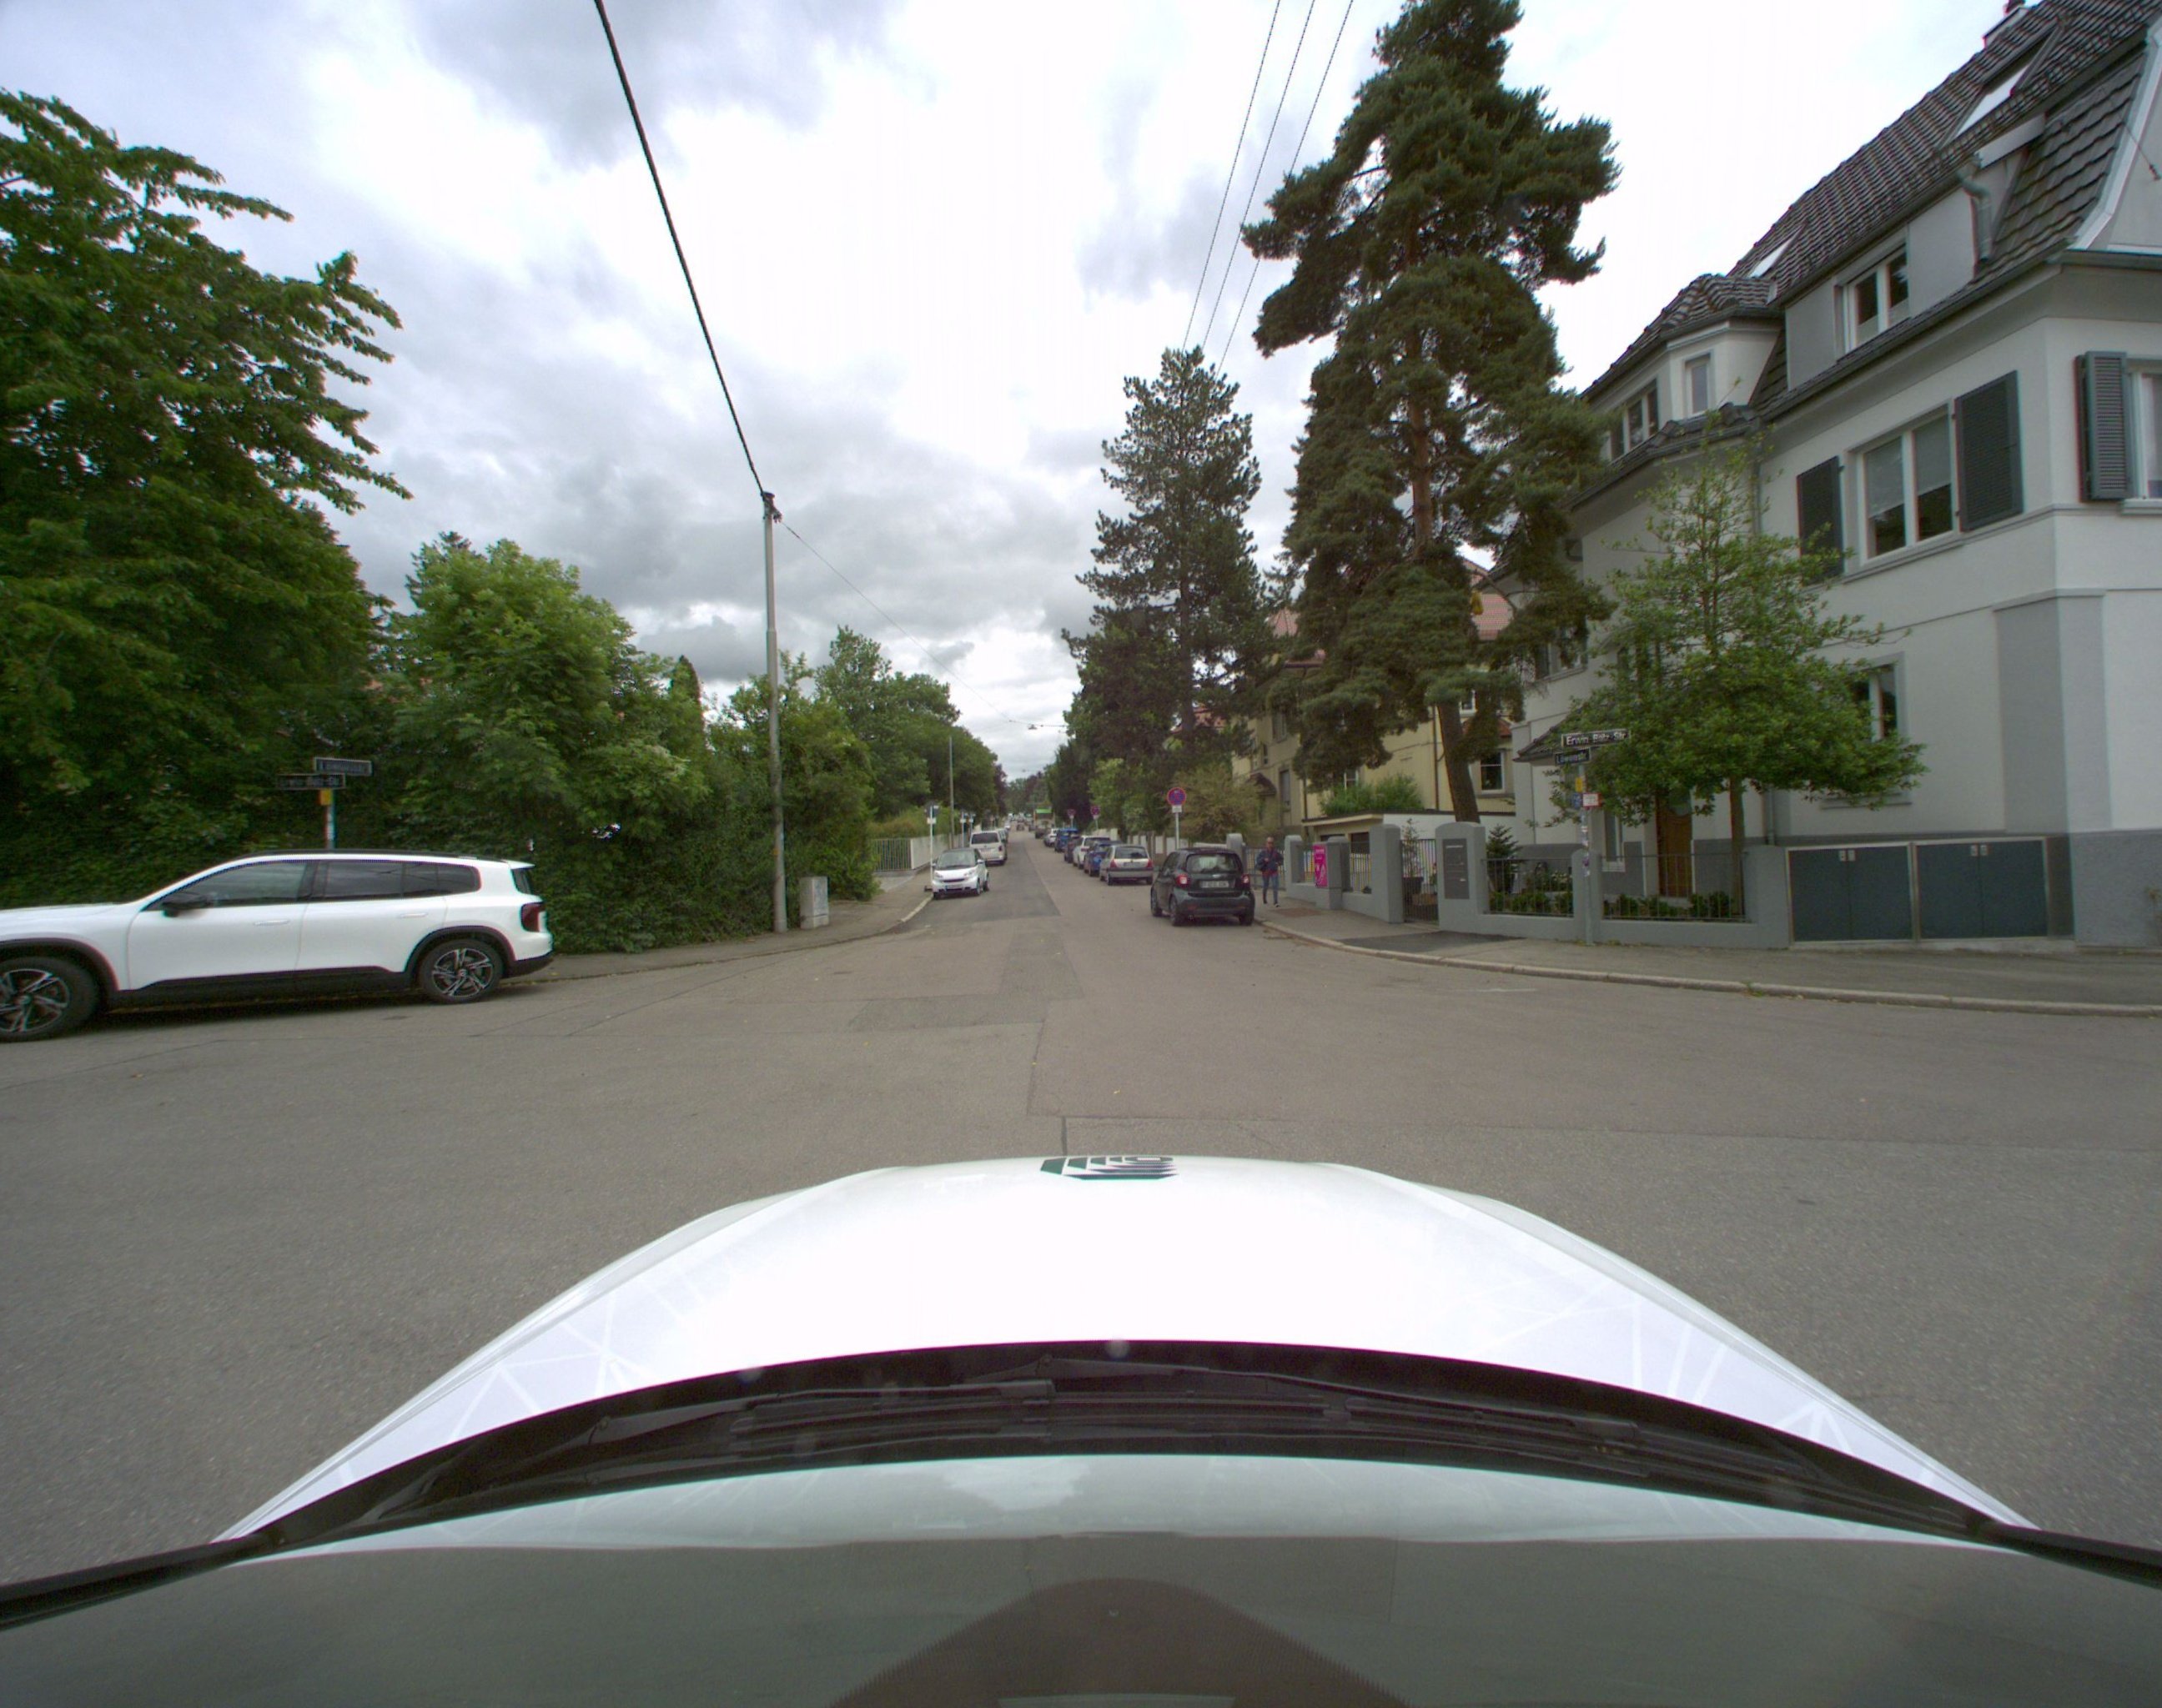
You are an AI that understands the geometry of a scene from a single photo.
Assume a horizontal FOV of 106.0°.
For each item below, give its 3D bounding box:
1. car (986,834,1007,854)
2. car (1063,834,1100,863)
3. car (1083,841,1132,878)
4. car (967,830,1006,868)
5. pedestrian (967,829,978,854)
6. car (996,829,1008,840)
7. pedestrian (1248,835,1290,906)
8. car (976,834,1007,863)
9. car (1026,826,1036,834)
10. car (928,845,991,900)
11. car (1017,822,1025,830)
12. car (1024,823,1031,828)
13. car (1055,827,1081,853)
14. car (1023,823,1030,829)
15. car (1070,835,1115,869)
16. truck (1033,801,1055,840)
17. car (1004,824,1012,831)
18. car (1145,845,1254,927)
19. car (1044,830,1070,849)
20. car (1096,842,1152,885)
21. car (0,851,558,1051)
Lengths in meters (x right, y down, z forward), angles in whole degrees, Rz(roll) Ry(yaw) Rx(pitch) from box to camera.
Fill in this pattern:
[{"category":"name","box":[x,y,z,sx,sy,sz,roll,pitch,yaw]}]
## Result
[{"category":"car","box":[-7.339,-0.920,70.539,1.621,1.533,2.955,-4,3,-8]},{"category":"car","box":[-0.004,-0.350,46.521,1.747,1.607,4.069,0,1,-5]},{"category":"car","box":[1.088,0.190,34.611,1.644,1.458,4.046,-1,1,-4]},{"category":"car","box":[-5.314,-0.346,46.311,1.851,1.913,4.613,-4,2,-4]},{"category":"pedestrian","box":[-8.956,-1.058,67.091,0.810,2.013,0.859,-1,2,-4]},{"category":"car","box":[-11.149,-2.717,115.139,1.635,1.394,3.981,-4,3,-6]},{"category":"pedestrian","box":[4.394,0.379,19.038,0.678,1.577,0.907,-4,0,1]},{"category":"car","box":[-5.770,-0.396,52.425,1.789,1.623,4.333,-3,2,-7]},{"category":"car","box":[-10.563,-5.083,171.851,1.776,1.488,3.993,-2,2,-6]},{"category":"car","box":[-3.956,0.571,26.968,1.437,1.552,2.772,-5,2,2]},{"category":"car","box":[-13.317,-6.192,180.616,1.631,1.701,3.488,-1,3,-5]},{"category":"car","box":[-14.052,-7.499,215.055,1.808,1.335,3.626,0,3,-6]},{"category":"car","box":[-1.016,-1.078,61.092,1.680,1.829,4.150,0,2,-5]},{"category":"car","box":[-14.929,-7.730,223.909,1.786,1.529,3.730,-1,2,-3]},{"category":"car","box":[0.540,-0.148,40.972,1.782,1.603,4.296,0,2,-6]},{"category":"truck","box":[-4.662,-4.176,102.445,2.519,4.747,7.178,-1,2,-4]},{"category":"car","box":[-17.078,-6.237,190.949,1.707,1.585,3.998,-1,2,-2]},{"category":"car","box":[2.407,0.613,17.165,1.570,1.531,2.861,1,2,-7]},{"category":"car","box":[-2.136,-1.319,71.826,1.756,1.605,4.563,-1,2,-8]},{"category":"car","box":[1.512,0.299,29.646,1.571,1.400,3.650,0,2,-4]},{"category":"car","box":[-8.320,0.807,8.546,4.538,1.655,1.813,0,0,-41]}]
